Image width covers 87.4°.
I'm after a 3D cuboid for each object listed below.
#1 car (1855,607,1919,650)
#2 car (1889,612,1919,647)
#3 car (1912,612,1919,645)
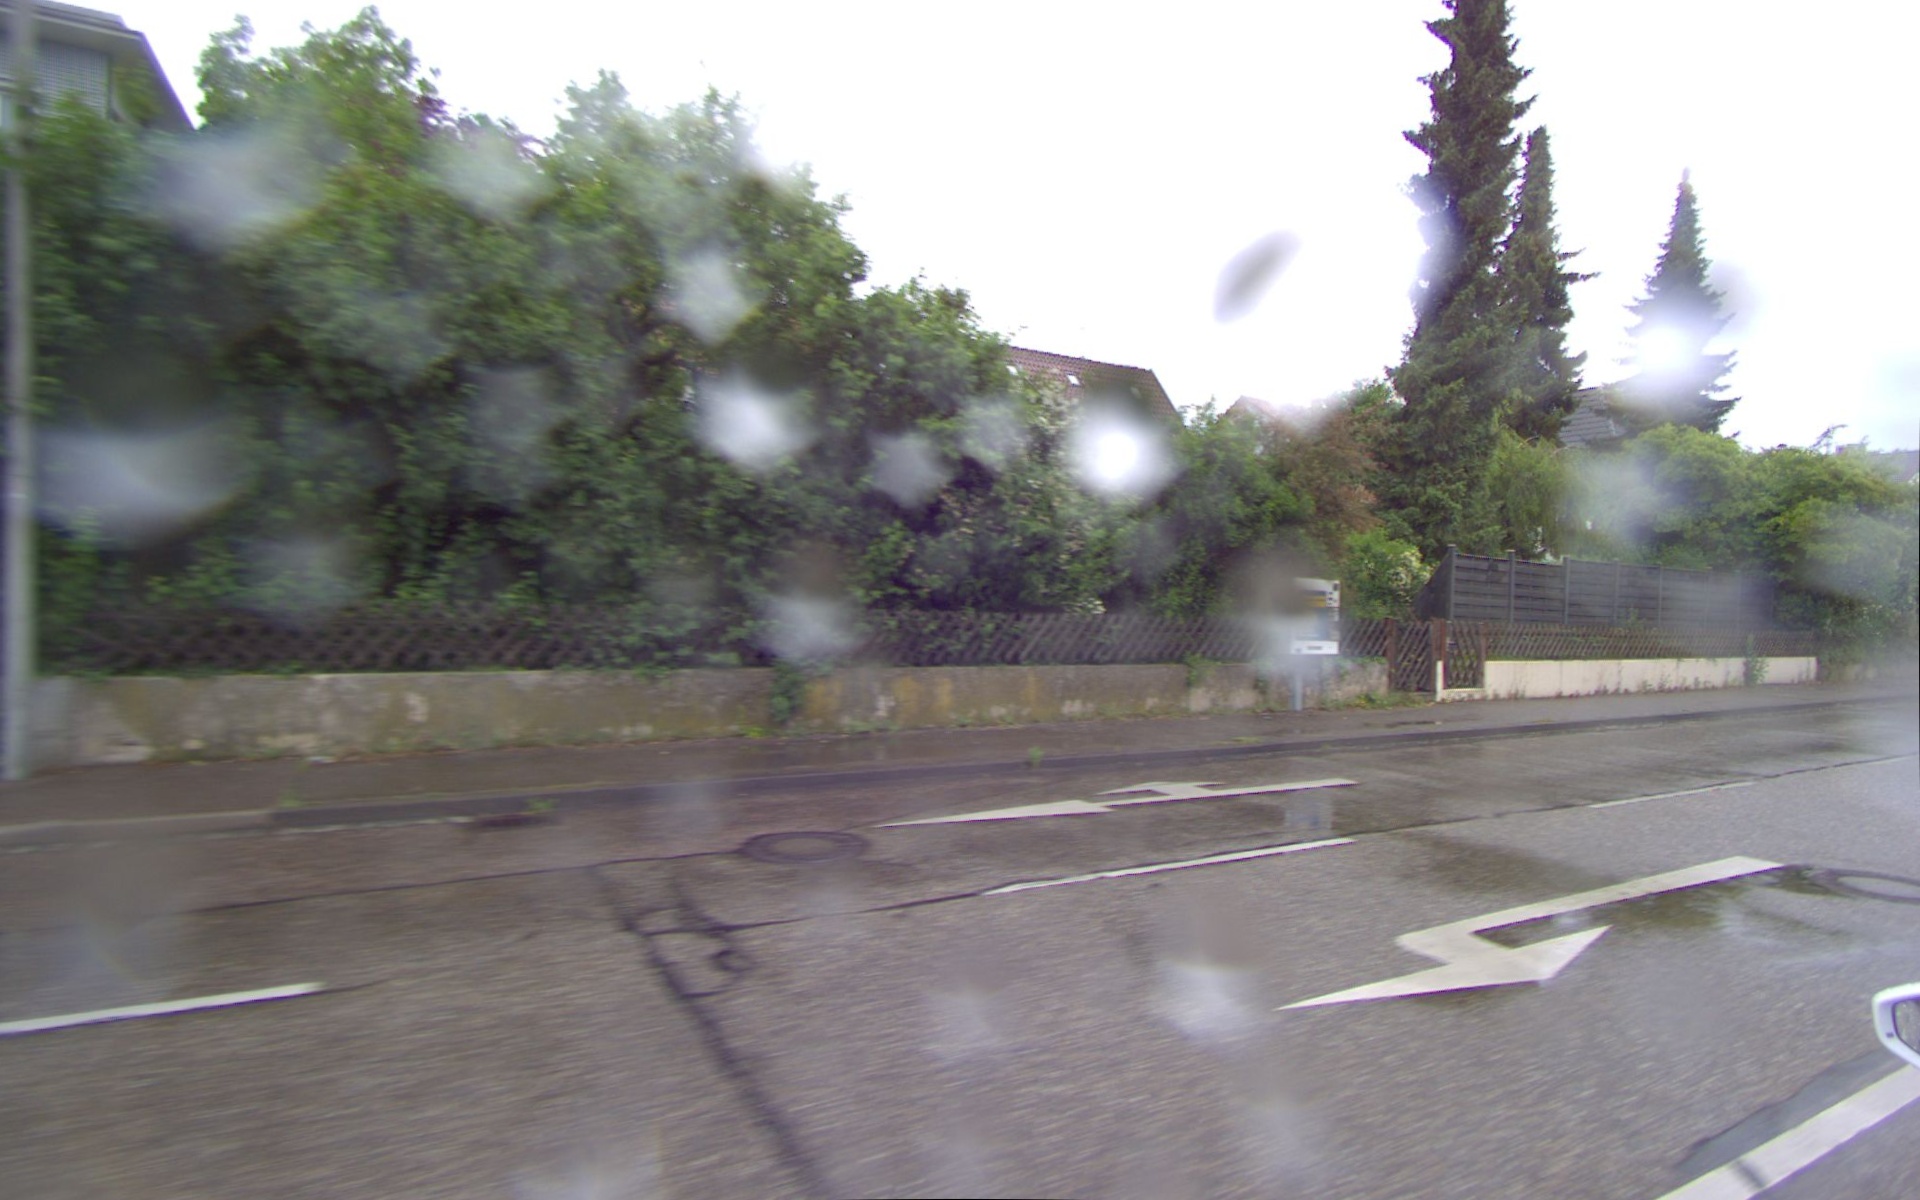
[{"bbox_3d":[39.057,1.202,40.449,1.933,1.606,4.080,1,2,-29],"label":"car"},{"bbox_3d":[41.493,1.306,41.616,1.946,1.454,3.971,1,2,-28],"label":"car"},{"bbox_3d":[43.745,1.277,43.052,1.683,1.465,3.973,1,0,-26],"label":"car"}]
